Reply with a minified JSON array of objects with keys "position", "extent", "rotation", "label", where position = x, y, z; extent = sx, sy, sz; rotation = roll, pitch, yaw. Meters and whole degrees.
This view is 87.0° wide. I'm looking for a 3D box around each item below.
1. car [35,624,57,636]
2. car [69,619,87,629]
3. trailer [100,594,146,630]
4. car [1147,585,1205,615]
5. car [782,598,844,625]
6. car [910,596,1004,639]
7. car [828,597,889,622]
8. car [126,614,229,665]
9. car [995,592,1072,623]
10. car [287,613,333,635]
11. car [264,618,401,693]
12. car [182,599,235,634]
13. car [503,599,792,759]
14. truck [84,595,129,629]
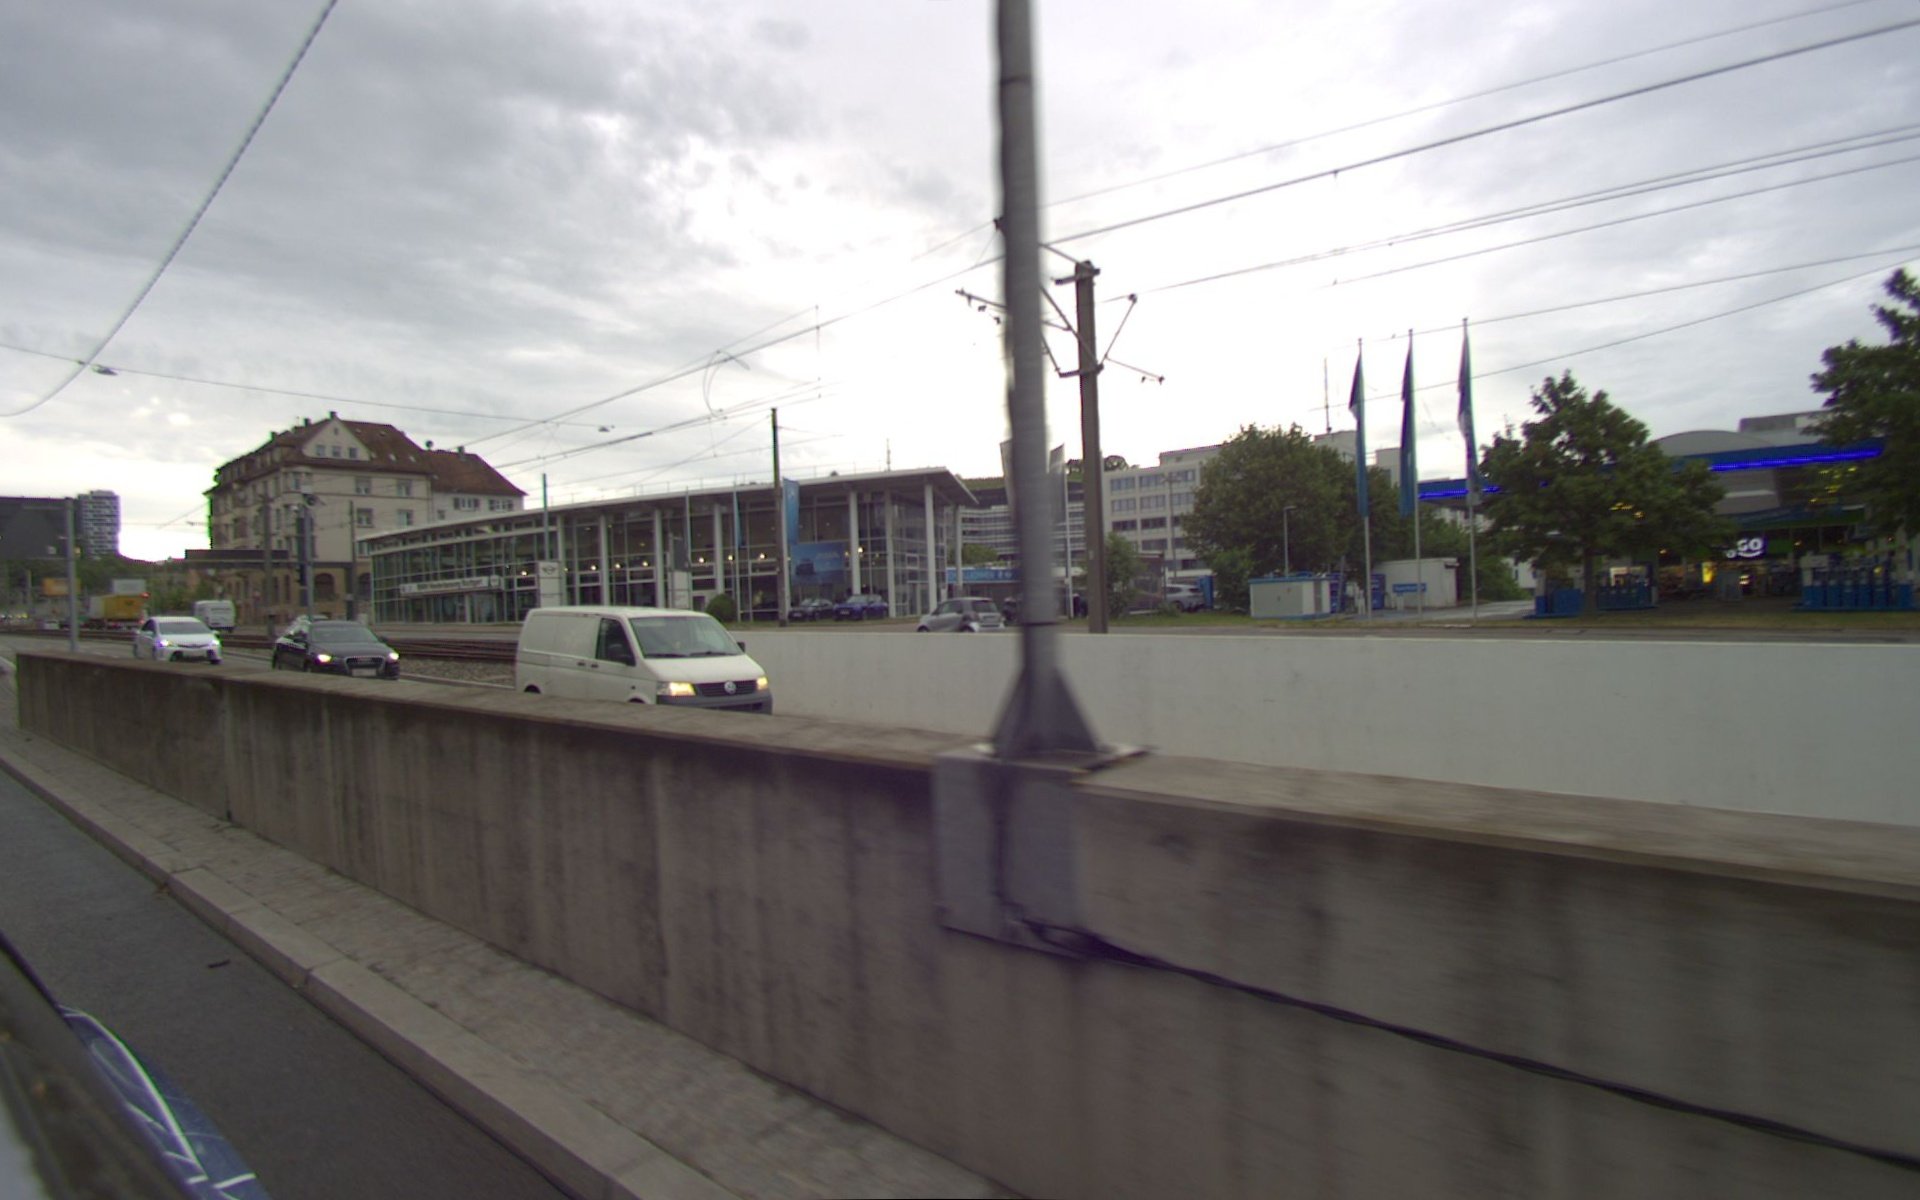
[{"position":[-146.815,4.797,162.556],"extent":[5.190,1.888,1.973],"rotation":[-1,0,41],"label":"car"},{"position":[-138.821,3.763,159.229],"extent":[4.330,1.444,1.589],"rotation":[-1,0,41],"label":"car"},{"position":[-98.690,1.401,119.333],"extent":[9.077,4.082,2.656],"rotation":[-1,0,41],"label":"trailer"},{"position":[12.006,0.026,56.286],"extent":[2.798,1.584,1.368],"rotation":[-1,1,39],"label":"car"},{"position":[-8.107,0.616,56.036],"extent":[1.690,1.244,3.974],"rotation":[-4,0,20],"label":"car"},{"position":[-0.126,0.572,32.810],"extent":[2.798,1.309,1.368],"rotation":[-1,1,39],"label":"car"},{"position":[-5.452,0.502,54.821],"extent":[1.747,1.244,3.973],"rotation":[0,1,20],"label":"car"},{"position":[-26.422,1.292,34.141],"extent":[4.317,1.585,1.956],"rotation":[-1,0,41],"label":"car"},{"position":[3.458,0.336,47.097],"extent":[1.717,1.284,3.476],"rotation":[-1,1,45],"label":"car"},{"position":[-47.982,1.779,74.688],"extent":[4.337,1.527,1.723],"rotation":[-1,0,41],"label":"car"},{"position":[-14.797,1.232,23.791],"extent":[3.894,1.585,1.686],"rotation":[-1,0,41],"label":"car"},{"position":[-60.189,1.303,81.045],"extent":[6.161,2.618,2.030],"rotation":[-1,1,41],"label":"car"},{"position":[-4.736,1.020,14.932],"extent":[4.716,1.973,1.889],"rotation":[-1,0,42],"label":"car"},{"position":[-105.955,1.510,125.546],"extent":[10.136,4.082,2.655],"rotation":[-1,0,41],"label":"truck"}]
